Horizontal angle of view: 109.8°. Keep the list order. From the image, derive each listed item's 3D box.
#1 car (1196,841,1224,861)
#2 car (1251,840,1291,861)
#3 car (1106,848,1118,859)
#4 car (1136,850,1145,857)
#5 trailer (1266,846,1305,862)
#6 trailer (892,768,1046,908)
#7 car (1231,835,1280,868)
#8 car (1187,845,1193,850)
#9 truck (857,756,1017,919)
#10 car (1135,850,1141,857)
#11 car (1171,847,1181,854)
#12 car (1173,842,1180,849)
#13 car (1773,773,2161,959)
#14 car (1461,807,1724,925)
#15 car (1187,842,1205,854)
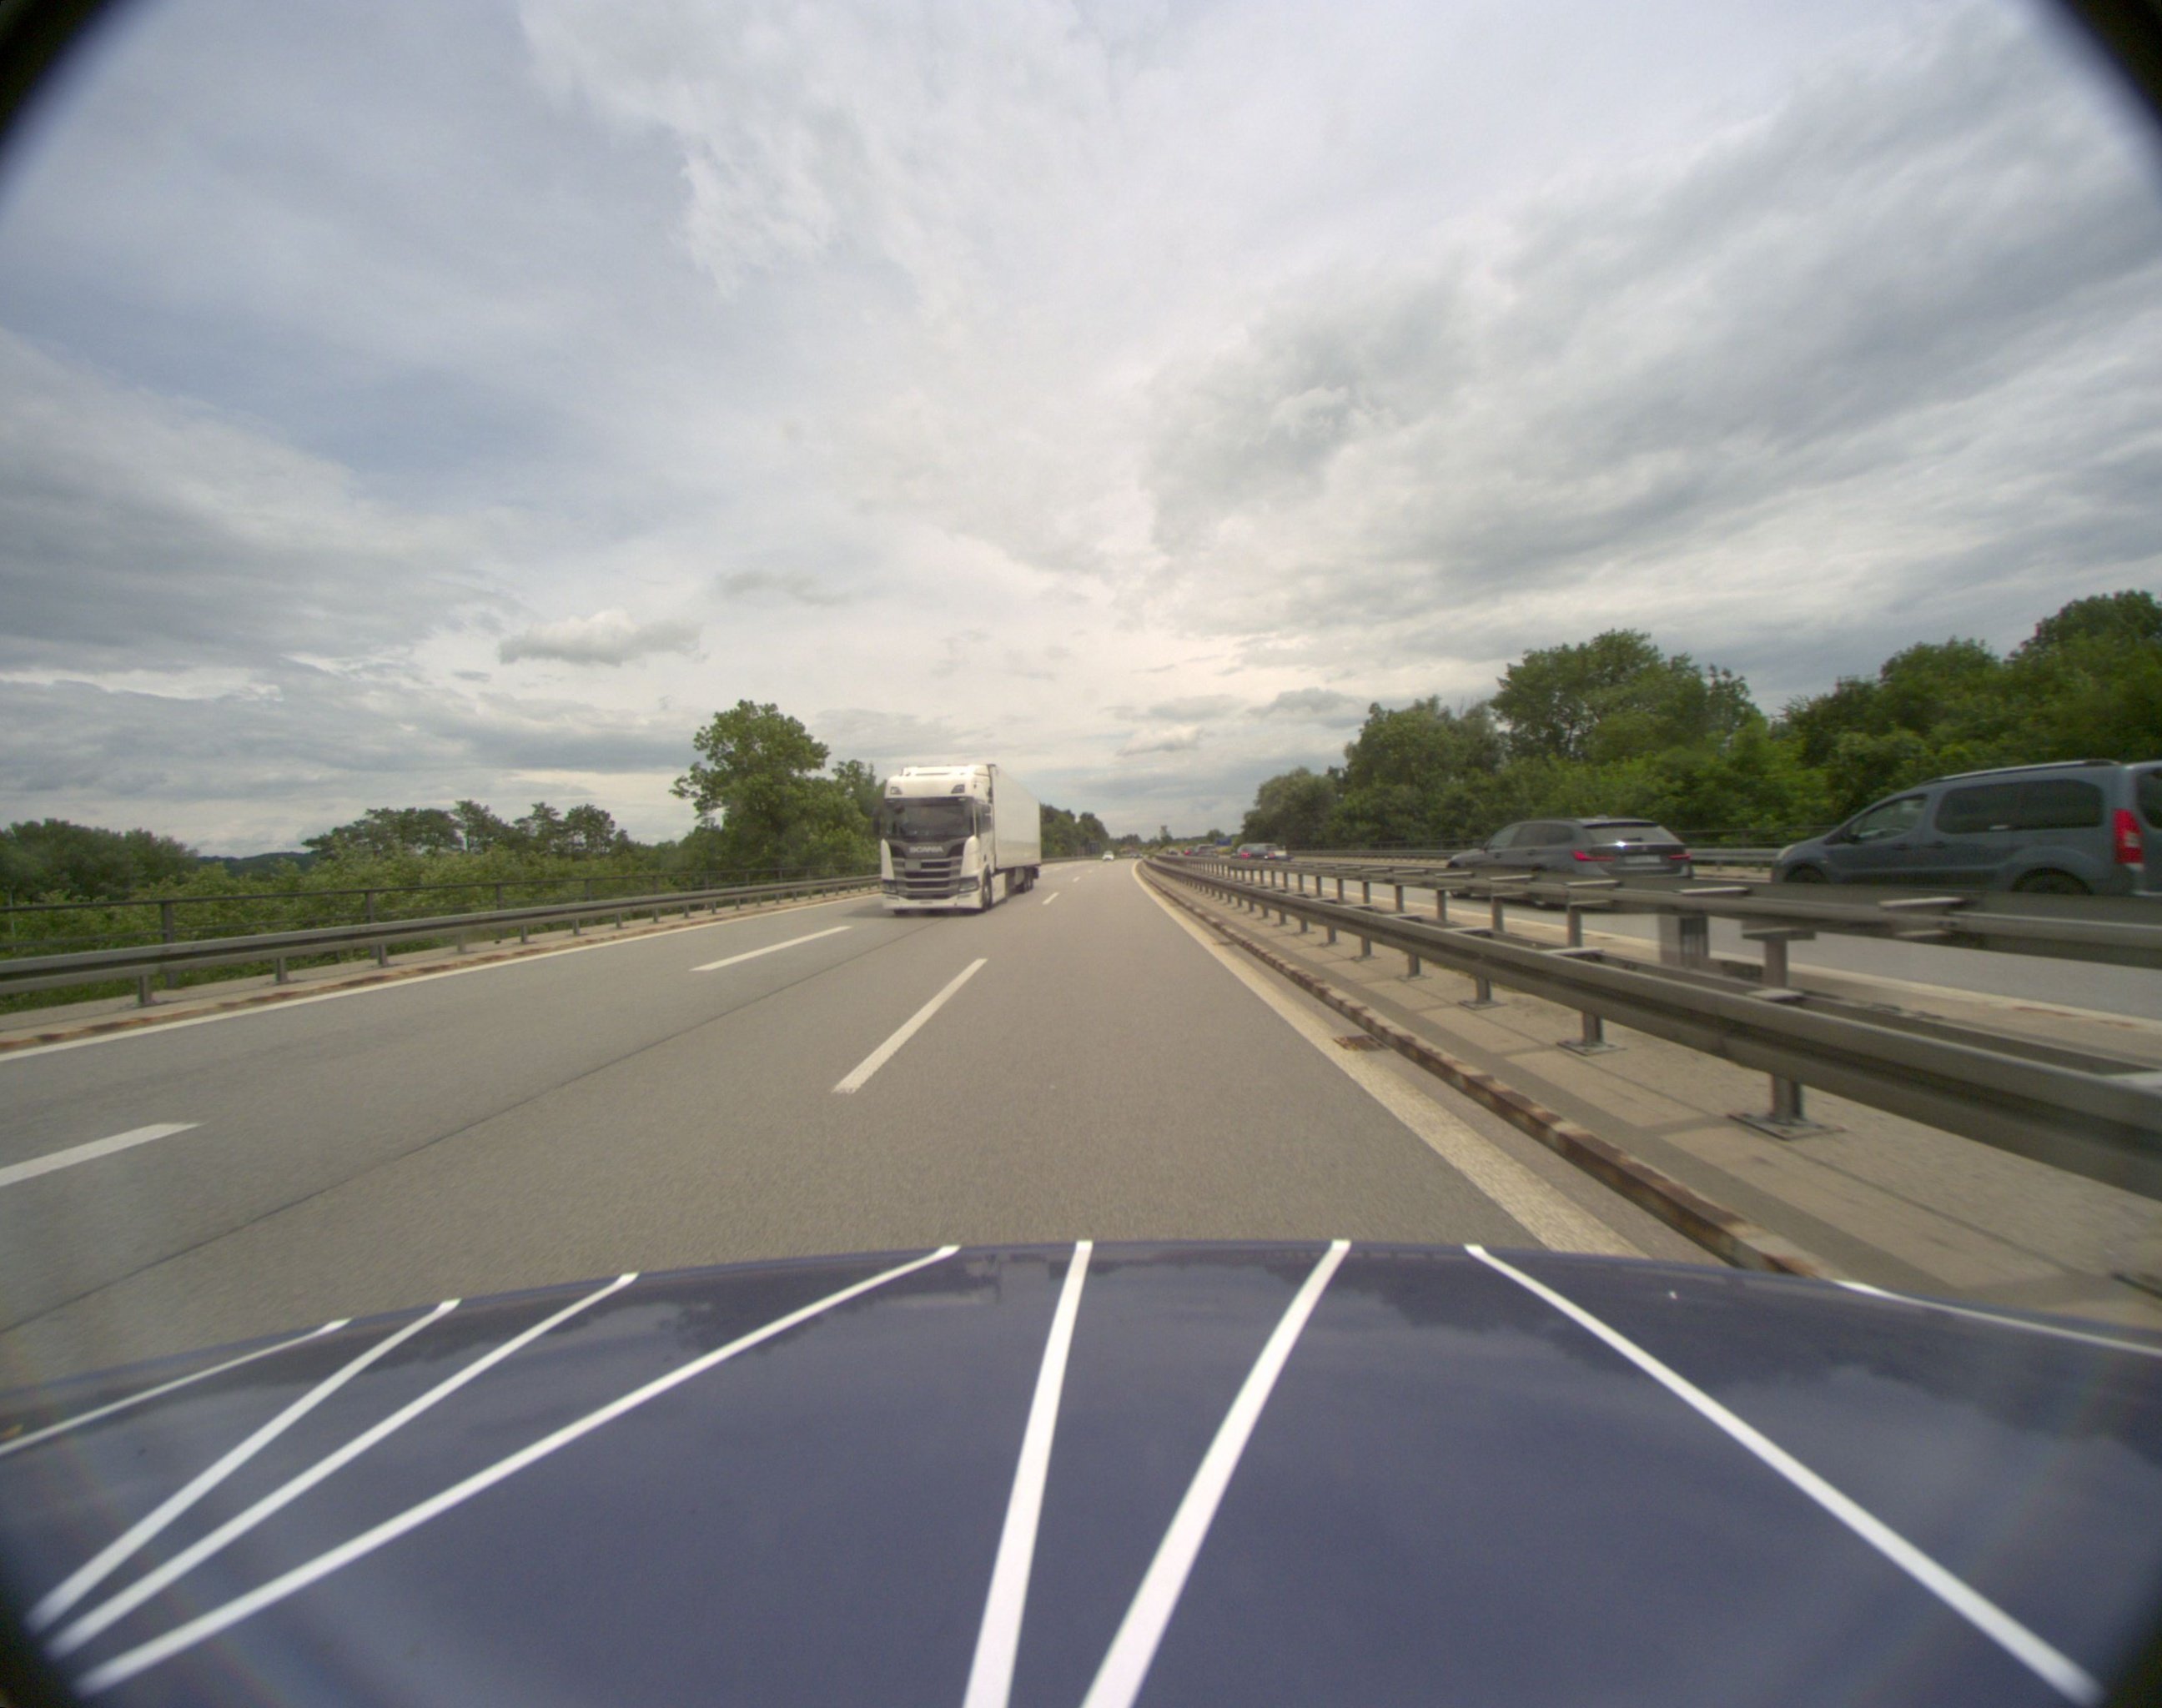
[{"bbox_3d":[10.208,-0.255,60.449,1.695,1.428,4.110,-3,1,3],"label":"car"},{"bbox_3d":[14.046,-0.248,56.418,1.742,1.402,4.942,-3,1,2],"label":"car"},{"bbox_3d":[5.230,-0.147,128.867,1.775,1.813,4.165,-3,1,1],"label":"car"},{"bbox_3d":[13.749,-0.082,174.565,1.775,1.474,4.697,-3,1,2],"label":"car"},{"bbox_3d":[13.940,-0.011,51.926,1.672,0.946,4.000,-3,0,2],"label":"trailer"},{"bbox_3d":[-3.481,-0.472,28.394,3.069,3.868,13.792,-2,0,2],"label":"trailer"},{"bbox_3d":[8.615,-0.132,37.797,1.648,1.540,4.000,-1,1,3],"label":"car"},{"bbox_3d":[33.296,-2.023,232.745,1.732,1.550,4.333,-2,0,7],"label":"car"},{"bbox_3d":[-3.753,-0.391,21.455,3.069,3.869,6.000,-2,0,2],"label":"truck"},{"bbox_3d":[15.937,-0.150,213.375,1.649,1.686,4.738,-2,0,3],"label":"car"},{"bbox_3d":[20.877,-0.765,167.156,1.689,1.368,4.359,-3,1,3],"label":"car"},{"bbox_3d":[28.773,-2.432,228.607,1.775,1.899,4.716,-4,0,4],"label":"car"},{"bbox_3d":[11.111,0.050,9.000,1.998,1.735,4.224,-3,1,1],"label":"car"},{"bbox_3d":[7.802,0.144,12.105,1.648,1.540,4.000,-1,1,3],"label":"car"},{"bbox_3d":[13.679,-0.672,90.488,1.655,1.359,4.149,-2,0,4],"label":"car"}]
